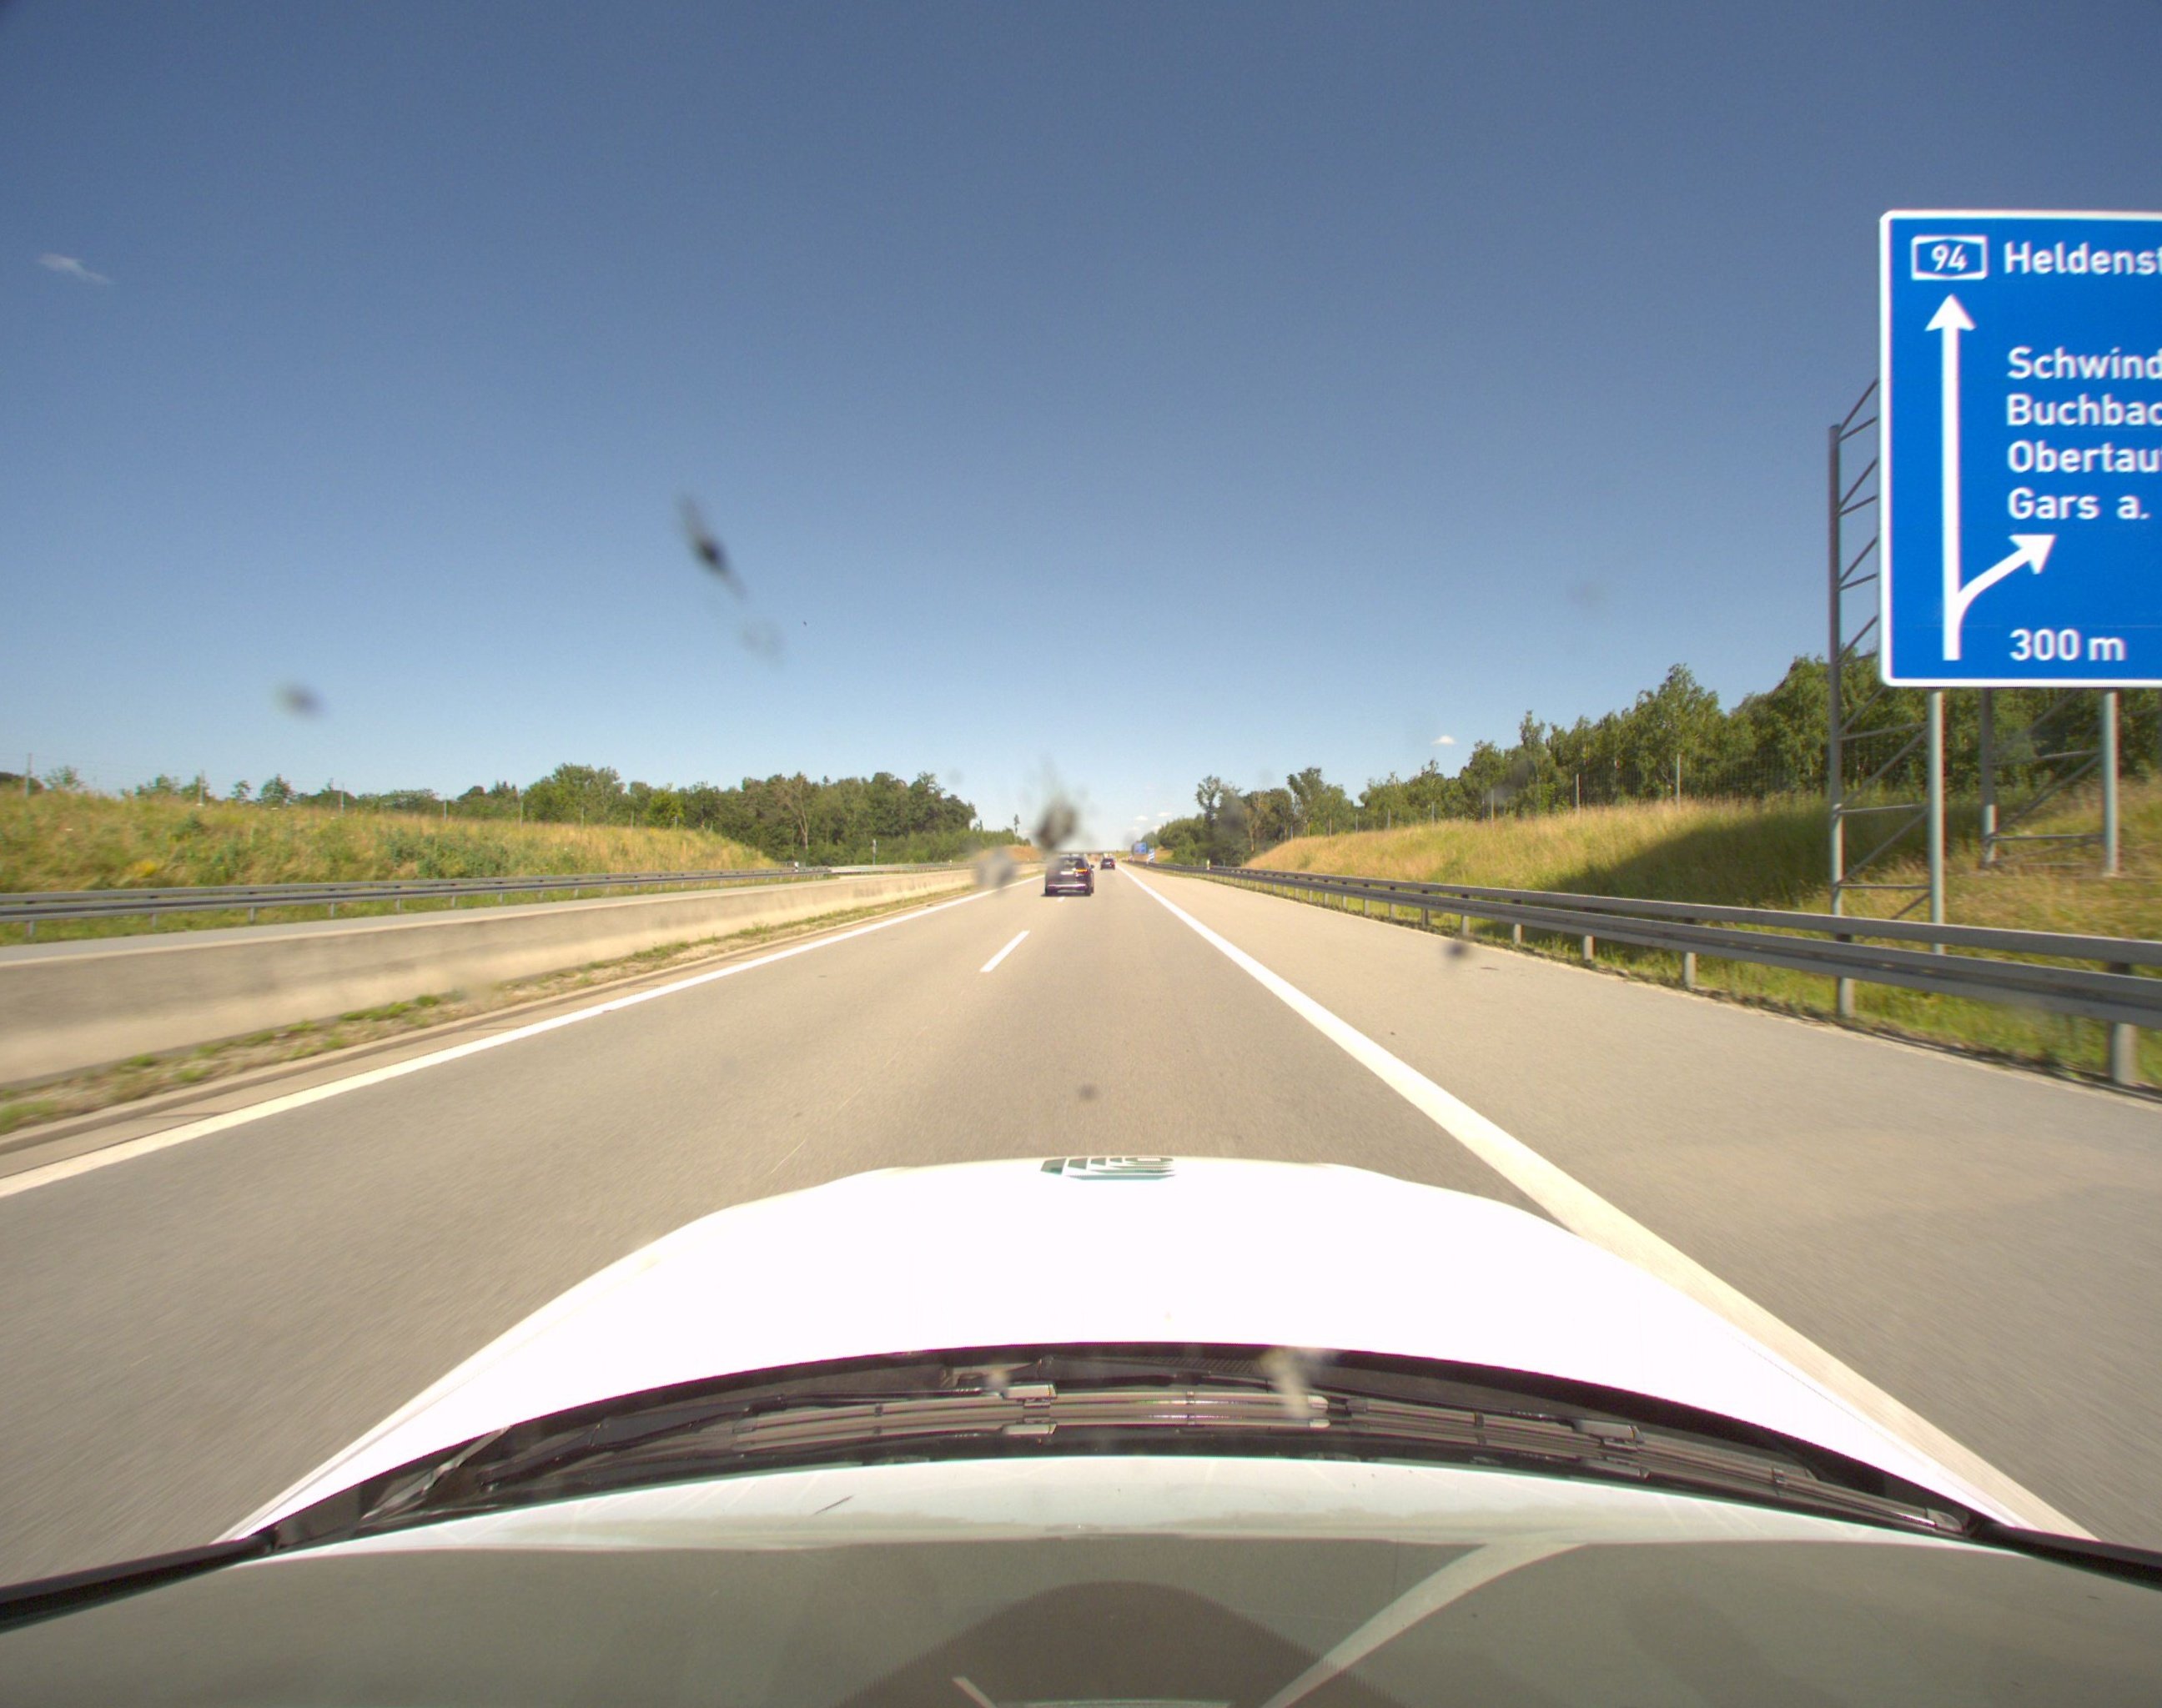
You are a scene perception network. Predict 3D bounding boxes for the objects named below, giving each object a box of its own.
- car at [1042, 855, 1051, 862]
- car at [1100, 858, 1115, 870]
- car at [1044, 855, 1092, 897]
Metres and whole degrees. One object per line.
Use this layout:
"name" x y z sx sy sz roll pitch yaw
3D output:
"car" -8.220 1.051 193.716 1.894 1.691 4.270 0 0 1
"car" 3.200 1.164 99.202 1.783 1.374 3.919 0 0 2
"car" -0.473 0.837 33.839 1.715 1.587 5.225 0 0 2
